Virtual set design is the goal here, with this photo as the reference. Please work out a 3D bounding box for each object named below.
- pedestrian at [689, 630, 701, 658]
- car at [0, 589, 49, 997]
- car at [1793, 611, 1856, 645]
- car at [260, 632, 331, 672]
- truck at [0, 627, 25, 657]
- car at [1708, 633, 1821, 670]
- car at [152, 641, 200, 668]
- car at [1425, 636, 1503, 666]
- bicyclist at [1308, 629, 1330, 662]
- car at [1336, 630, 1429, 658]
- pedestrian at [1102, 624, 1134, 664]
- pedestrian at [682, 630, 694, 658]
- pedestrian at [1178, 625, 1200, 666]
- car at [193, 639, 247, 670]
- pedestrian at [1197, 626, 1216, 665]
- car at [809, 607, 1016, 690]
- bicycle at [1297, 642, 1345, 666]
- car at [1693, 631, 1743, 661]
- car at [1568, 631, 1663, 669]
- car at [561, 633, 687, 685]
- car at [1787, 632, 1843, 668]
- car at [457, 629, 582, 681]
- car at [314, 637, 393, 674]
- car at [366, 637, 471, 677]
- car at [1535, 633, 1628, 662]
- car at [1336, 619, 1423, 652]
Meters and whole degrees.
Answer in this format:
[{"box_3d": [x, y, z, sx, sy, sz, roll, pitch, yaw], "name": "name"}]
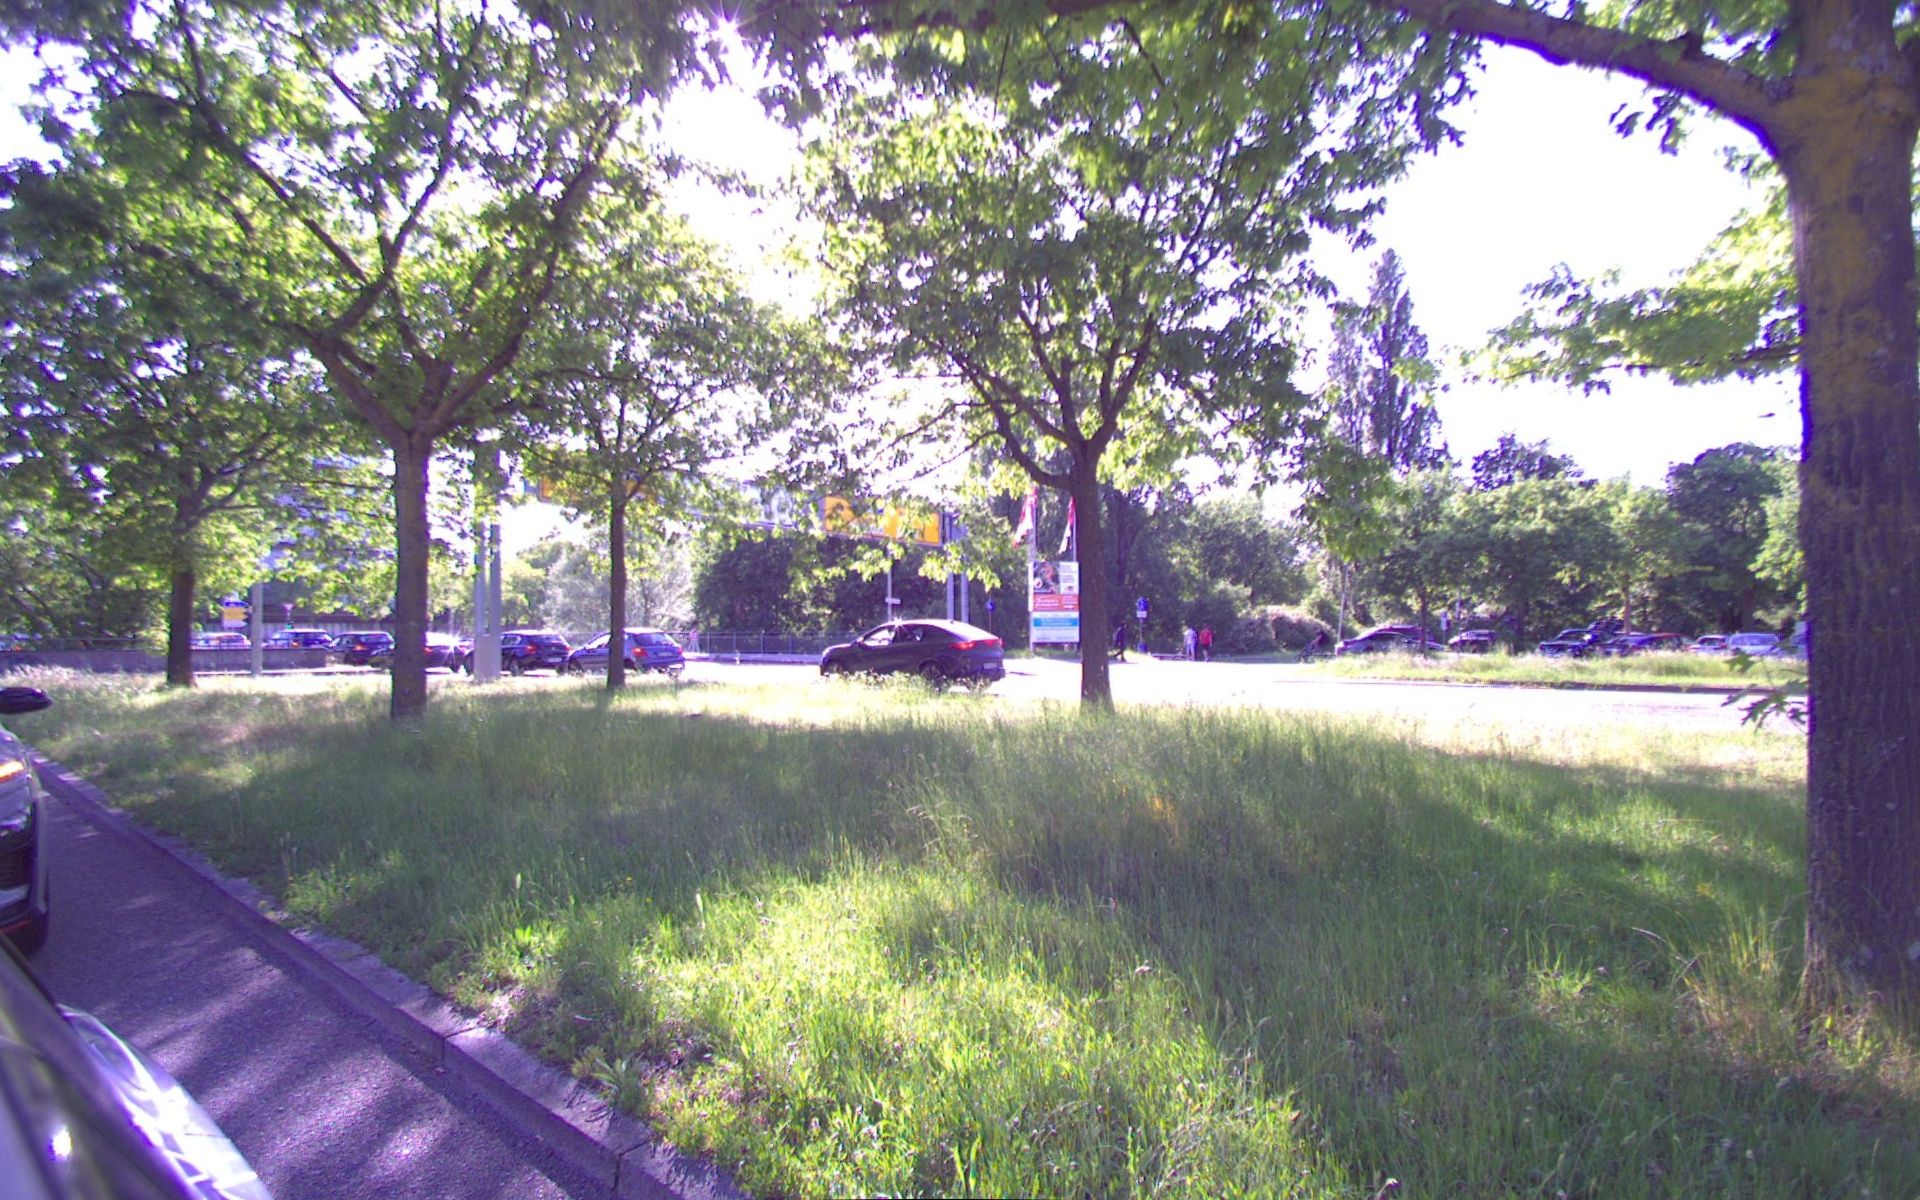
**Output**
[{"box_3d": [-14.586, 2.421, 55.723, 0.544, 1.510, 0.416, -2, -2, 33], "name": "pedestrian"}, {"box_3d": [-5.623, 0.767, 4.604, 3.986, 1.544, 1.730, -2, -2, 41], "name": "car"}, {"box_3d": [43.899, 1.416, 51.396, 3.694, 1.681, 1.895, 1, -2, -41], "name": "car"}, {"box_3d": [-28.130, 2.207, 42.846, 3.195, 1.571, 1.433, -4, -3, 34], "name": "car"}, {"box_3d": [-110.469, 4.692, 112.659, 9.015, 3.275, 3.536, 1, -2, -37], "name": "truck"}, {"box_3d": [26.896, 1.698, 33.910, 2.783, 1.165, 1.327, -1, -2, 32], "name": "car"}, {"box_3d": [-40.071, 2.782, 51.725, 2.761, 1.270, 1.186, -4, -3, 35], "name": "car"}, {"box_3d": [31.563, 3.195, 63.483, 3.961, 1.807, 1.991, -1, -2, 14], "name": "car"}, {"box_3d": [16.470, 2.084, 46.439, 0.839, 1.500, 0.678, -1, -2, 13], "name": "bicyclist"}, {"box_3d": [21.141, 2.203, 50.757, 3.957, 1.385, 1.826, -1, -2, 11], "name": "car"}, {"box_3d": [6.565, 1.803, 42.030, 0.985, 1.642, 0.904, -2, -2, 33], "name": "pedestrian"}, {"box_3d": [-14.883, 2.419, 55.353, 0.544, 1.510, 0.416, -2, -2, 33], "name": "pedestrian"}, {"box_3d": [10.904, 2.151, 48.264, 0.847, 1.881, 0.902, -1, 0, 1], "name": "pedestrian"}, {"box_3d": [-35.069, 2.589, 47.939, 2.875, 1.350, 1.214, -5, -4, 34], "name": "car"}, {"box_3d": [11.629, 2.140, 47.718, 0.743, 1.802, 0.904, -1, 0, 5], "name": "pedestrian"}, {"box_3d": [-1.114, 1.037, 22.368, 4.452, 1.660, 1.810, -2, -2, 36], "name": "car"}, {"box_3d": [16.533, 2.488, 46.385, 2.016, 1.060, 0.684, -1, -2, 13], "name": "bicycle"}, {"box_3d": [32.981, 1.985, 44.113, 1.616, 1.187, 3.040, -2, -2, 35], "name": "car"}, {"box_3d": [23.544, 1.785, 36.434, 2.783, 1.315, 1.327, -2, -2, 32], "name": "car"}, {"box_3d": [-9.582, 1.646, 28.791, 3.601, 1.374, 1.543, -2, -2, 35], "name": "car"}, {"box_3d": [35.624, 2.066, 42.218, 1.617, 1.430, 3.038, -2, -2, 38], "name": "car"}, {"box_3d": [-14.156, 1.728, 32.456, 4.215, 1.562, 1.853, -2, -2, 37], "name": "car"}, {"box_3d": [-23.406, 2.125, 39.031, 3.195, 1.349, 1.464, -3, -2, 35], "name": "car"}, {"box_3d": [-19.214, 1.988, 35.860, 4.058, 1.323, 1.604, -2, -2, 35], "name": "car"}, {"box_3d": [23.364, 1.775, 38.117, 2.774, 1.072, 1.324, -1, -2, 23], "name": "car"}, {"box_3d": [22.431, 1.898, 54.287, 3.959, 1.678, 1.992, -1, -2, 13], "name": "car"}]
